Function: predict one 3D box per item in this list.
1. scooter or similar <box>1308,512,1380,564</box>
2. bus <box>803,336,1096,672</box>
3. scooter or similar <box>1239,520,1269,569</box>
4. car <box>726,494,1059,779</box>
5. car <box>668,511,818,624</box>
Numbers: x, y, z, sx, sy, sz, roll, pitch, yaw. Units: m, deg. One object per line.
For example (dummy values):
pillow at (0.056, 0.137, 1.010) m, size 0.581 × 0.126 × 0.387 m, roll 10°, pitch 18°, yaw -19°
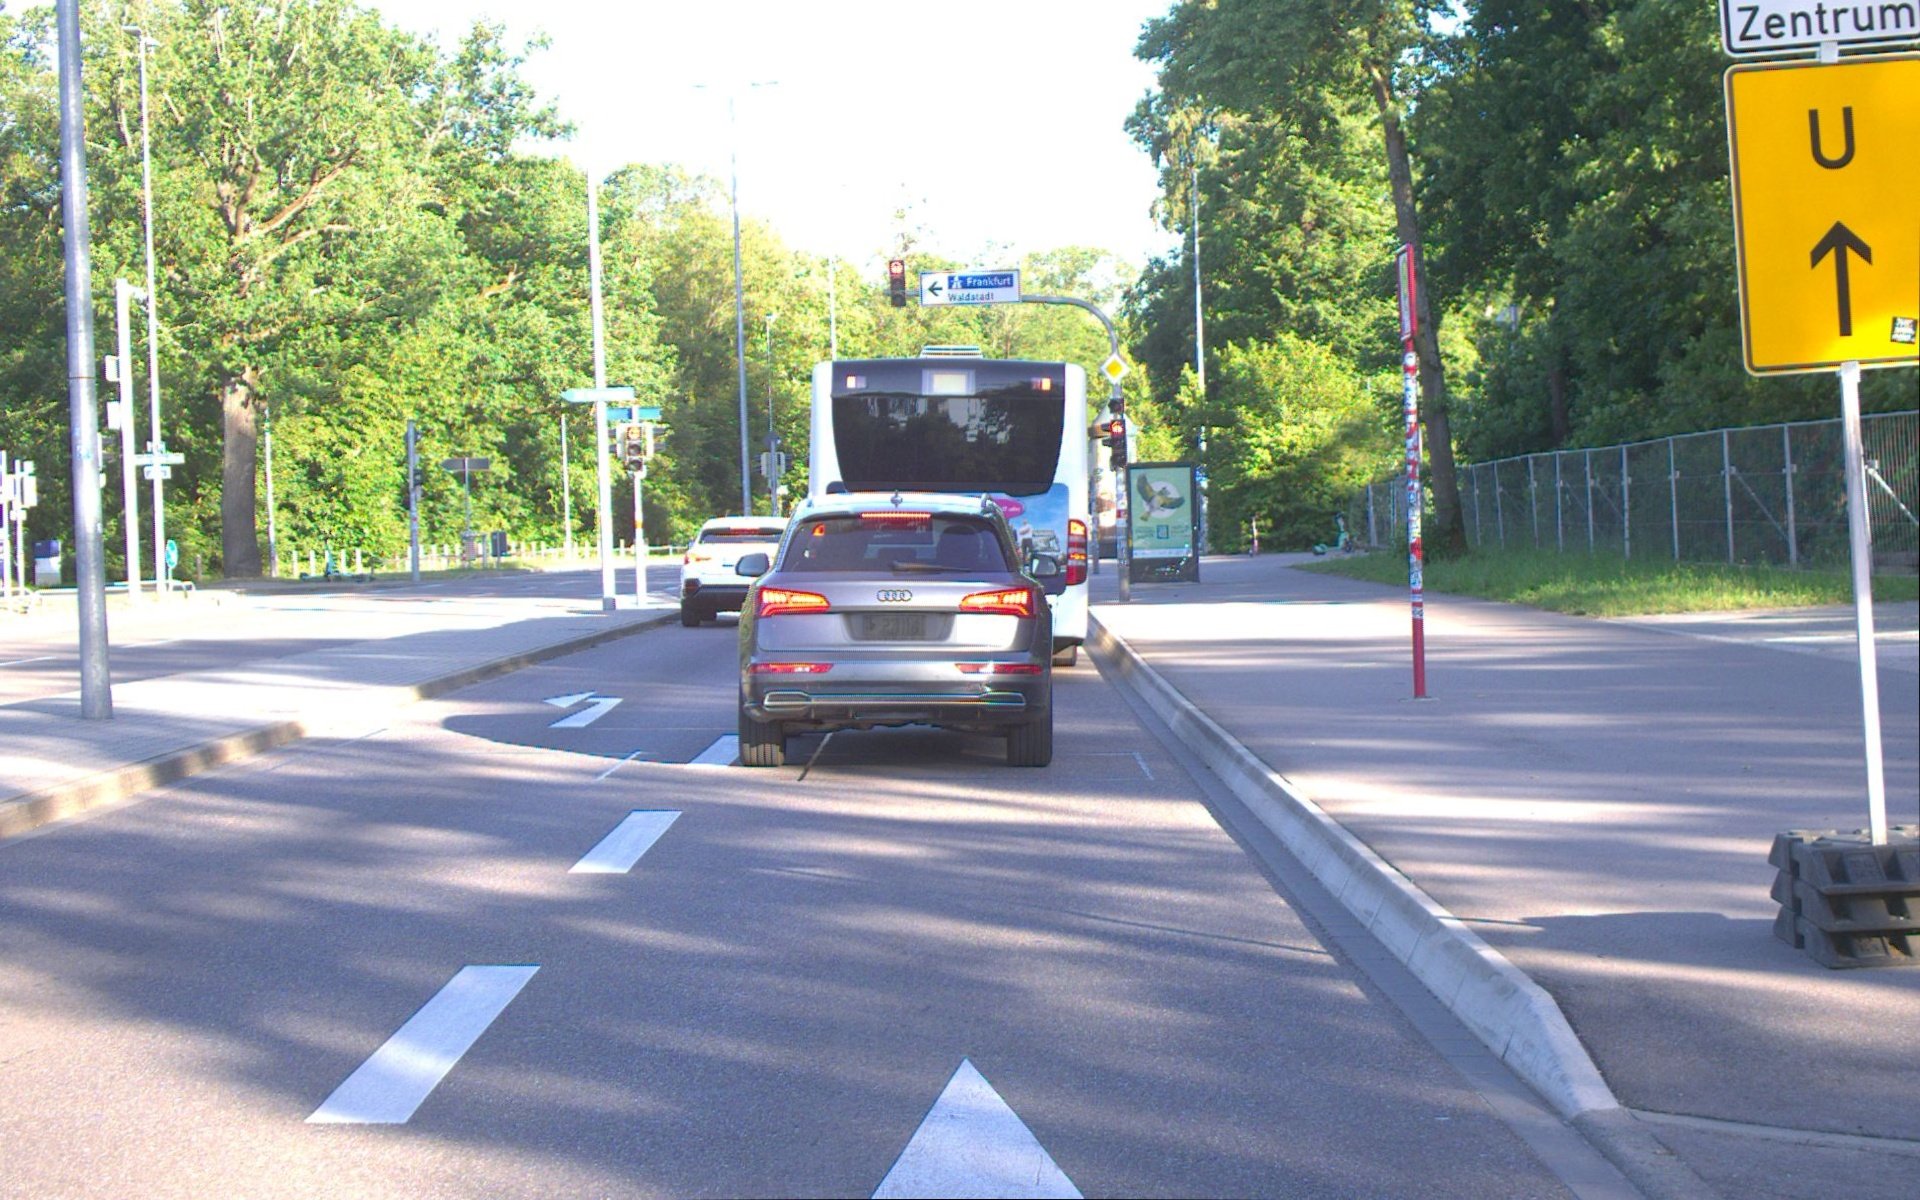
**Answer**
scooter or similar at (11.172, -1.801, 100.072) m, size 2.015 × 1.439 × 0.606 m, roll -3°, pitch 1°, yaw -24°
bus at (-0.062, -0.920, 35.194) m, size 2.595 × 2.978 × 9.327 m, roll 0°, pitch 1°, yaw 0°
scooter or similar at (8.780, -1.659, 102.589) m, size 0.508 × 1.439 × 2.023 m, roll -2°, pitch 1°, yaw -5°
car at (-0.371, 0.157, 21.645) m, size 1.898 × 1.626 × 4.000 m, roll 0°, pitch 1°, yaw 0°
car at (-3.068, -0.497, 49.320) m, size 1.836 × 1.513 × 4.000 m, roll -1°, pitch 1°, yaw 0°
